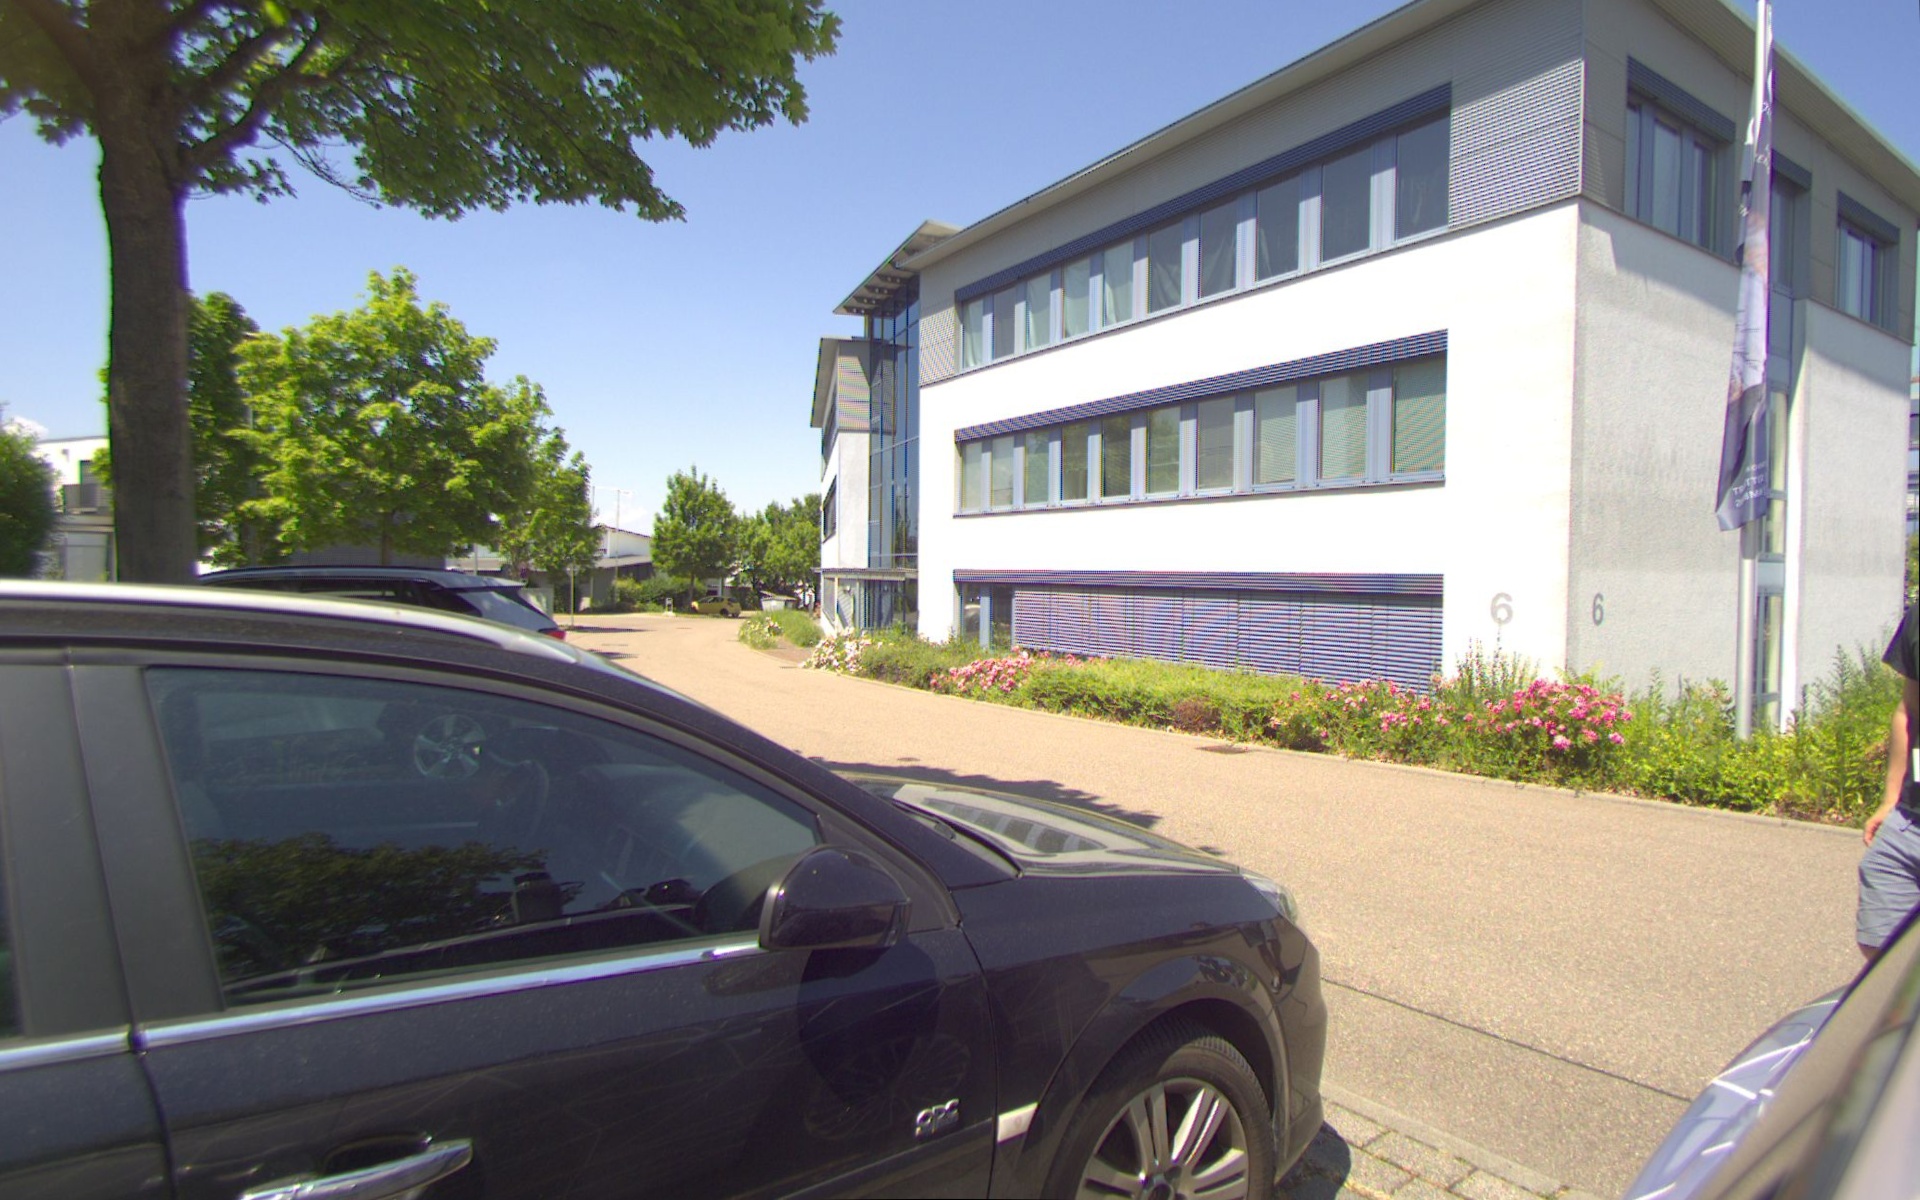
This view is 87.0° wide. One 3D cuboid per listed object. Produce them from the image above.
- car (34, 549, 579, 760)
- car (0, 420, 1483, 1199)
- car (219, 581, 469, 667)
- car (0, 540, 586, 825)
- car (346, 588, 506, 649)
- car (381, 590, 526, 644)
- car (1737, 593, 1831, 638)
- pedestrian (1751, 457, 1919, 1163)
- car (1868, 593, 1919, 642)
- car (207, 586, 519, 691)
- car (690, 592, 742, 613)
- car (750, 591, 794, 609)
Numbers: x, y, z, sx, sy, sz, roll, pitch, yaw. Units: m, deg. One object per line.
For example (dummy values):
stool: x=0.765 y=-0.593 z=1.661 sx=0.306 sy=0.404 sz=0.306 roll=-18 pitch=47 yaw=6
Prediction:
car: x=-6.073 y=0.462 z=9.868 sx=4.122 sy=1.664 sz=1.661 roll=1 pitch=-1 yaw=-35
car: x=-1.034 y=0.619 z=1.837 sx=4.480 sy=1.569 sz=1.763 roll=0 pitch=0 yaw=-37
car: x=-12.410 y=0.489 z=20.691 sx=4.090 sy=1.625 sz=1.664 roll=1 pitch=-1 yaw=-21
car: x=-5.168 y=0.498 z=7.362 sx=4.249 sy=1.664 sz=1.857 roll=1 pitch=-1 yaw=-35
car: x=-14.235 y=0.487 z=27.177 sx=3.514 sy=1.545 sz=1.639 roll=1 pitch=-1 yaw=-17
car: x=-14.677 y=0.493 z=29.527 sx=3.514 sy=1.461 sz=1.639 roll=1 pitch=-1 yaw=-17
car: x=30.588 y=0.528 z=37.538 sx=3.925 sy=1.565 sz=1.788 roll=-1 pitch=0 yaw=-36
pedestrian: x=2.960 y=0.549 z=2.789 sx=0.888 sy=1.843 sz=0.860 roll=0 pitch=0 yaw=3
car: x=32.692 y=0.550 z=34.511 sx=3.925 sy=1.565 sz=1.788 roll=-1 pitch=0 yaw=-36
car: x=-9.358 y=0.590 z=16.222 sx=4.092 sy=1.505 sz=1.663 roll=1 pitch=-1 yaw=-27
car: x=-17.142 y=0.183 z=71.146 sx=3.172 sy=1.460 sz=1.580 roll=0 pitch=0 yaw=18
car: x=-15.275 y=0.017 z=82.344 sx=3.172 sy=1.460 sz=1.580 roll=0 pitch=0 yaw=18
